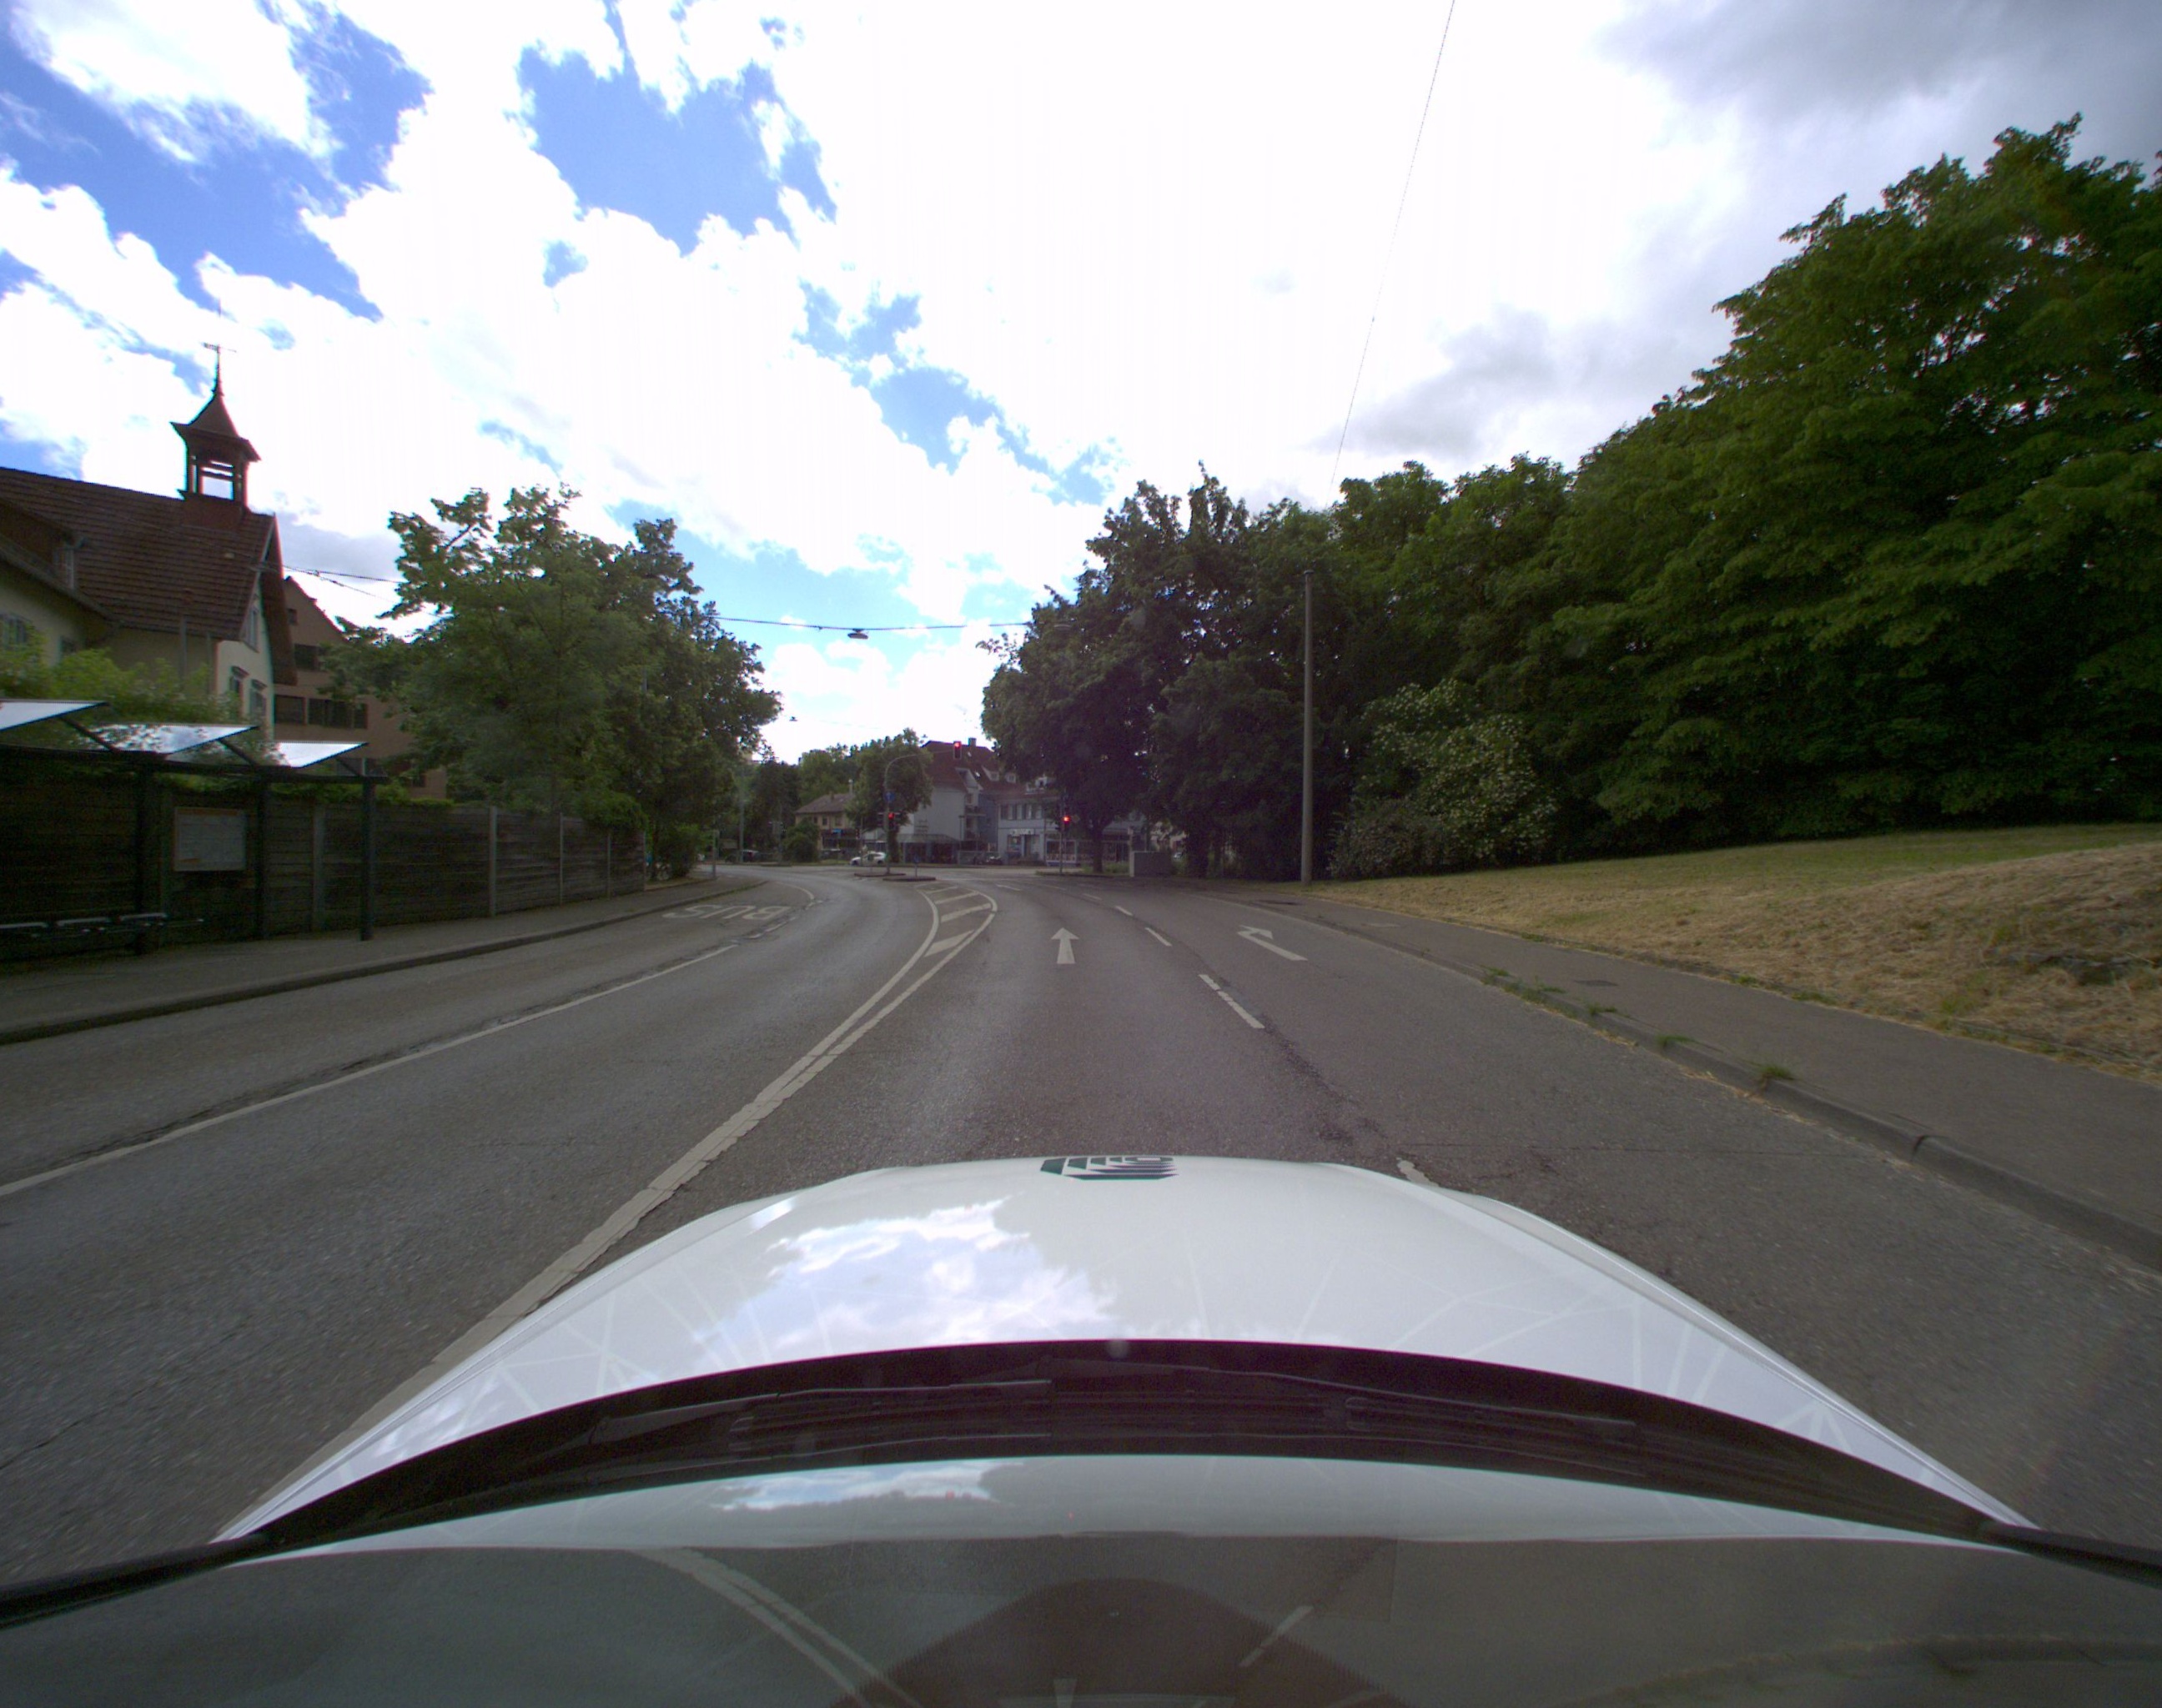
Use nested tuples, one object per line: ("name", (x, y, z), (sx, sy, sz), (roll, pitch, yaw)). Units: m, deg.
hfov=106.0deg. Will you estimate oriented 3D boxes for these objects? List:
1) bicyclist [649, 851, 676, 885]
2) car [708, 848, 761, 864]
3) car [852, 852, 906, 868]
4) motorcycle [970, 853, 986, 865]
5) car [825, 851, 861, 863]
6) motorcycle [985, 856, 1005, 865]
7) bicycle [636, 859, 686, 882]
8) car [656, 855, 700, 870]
("bicyclist", (-19.913, 0.642, 38.744), (1.105, 1.599, 0.932), (1, 0, -28))
("car", (-34.635, 0.161, 81.348), (4.543, 1.517, 2.008), (-1, 0, 15))
("car", (-19.196, 0.567, 77.419), (4.543, 1.517, 2.008), (-1, 0, 15))
("motorcycle", (-10.769, 0.527, 84.815), (1.484, 1.106, 0.563), (-1, 5, 14))
("car", (-30.413, 0.411, 104.155), (4.019, 1.486, 1.740), (-1, 0, -38))
("motorcycle", (-8.829, 0.646, 83.603), (1.822, 0.848, 0.563), (-1, 5, 17))
("bicycle", (-19.968, 0.772, 38.724), (2.082, 1.082, 0.932), (0, 0, -28))
("car", (-45.198, 0.918, 91.311), (3.964, 1.574, 2.005), (-1, 0, 9))
